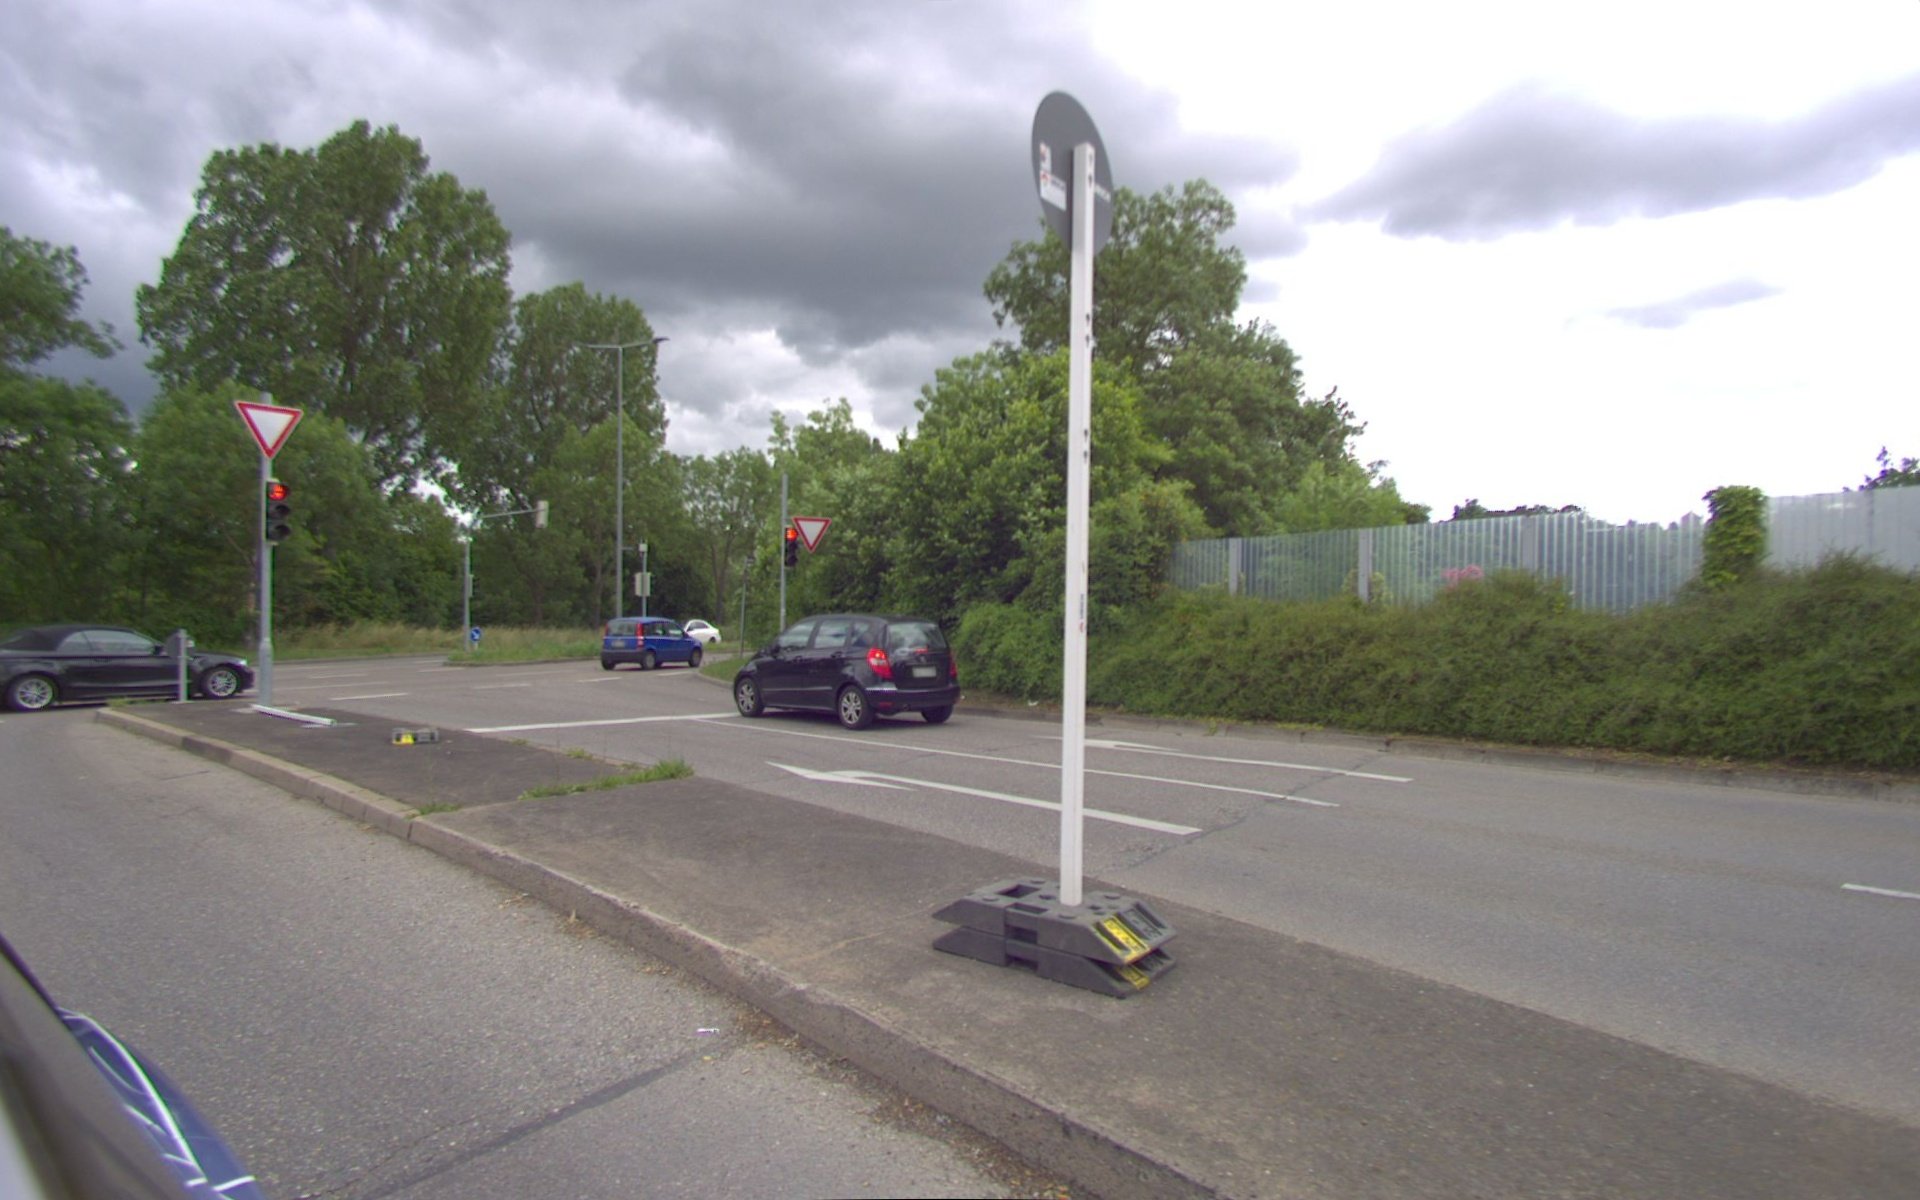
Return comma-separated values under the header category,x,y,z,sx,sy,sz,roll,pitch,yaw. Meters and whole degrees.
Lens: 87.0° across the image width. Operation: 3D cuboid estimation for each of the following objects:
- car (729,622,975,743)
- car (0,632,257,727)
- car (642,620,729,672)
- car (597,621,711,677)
category,x,y,z,sx,sy,sz,roll,pitch,yaw
car,-1.696,1.148,15.073,3.790,1.564,1.619,-2,-4,45
car,-14.667,1.294,17.338,1.563,1.378,4.039,-2,-1,32
car,-12.702,2.061,47.032,1.919,2.009,4.298,1,2,17
car,-8.979,1.417,29.927,1.536,1.519,3.358,-1,-1,20
